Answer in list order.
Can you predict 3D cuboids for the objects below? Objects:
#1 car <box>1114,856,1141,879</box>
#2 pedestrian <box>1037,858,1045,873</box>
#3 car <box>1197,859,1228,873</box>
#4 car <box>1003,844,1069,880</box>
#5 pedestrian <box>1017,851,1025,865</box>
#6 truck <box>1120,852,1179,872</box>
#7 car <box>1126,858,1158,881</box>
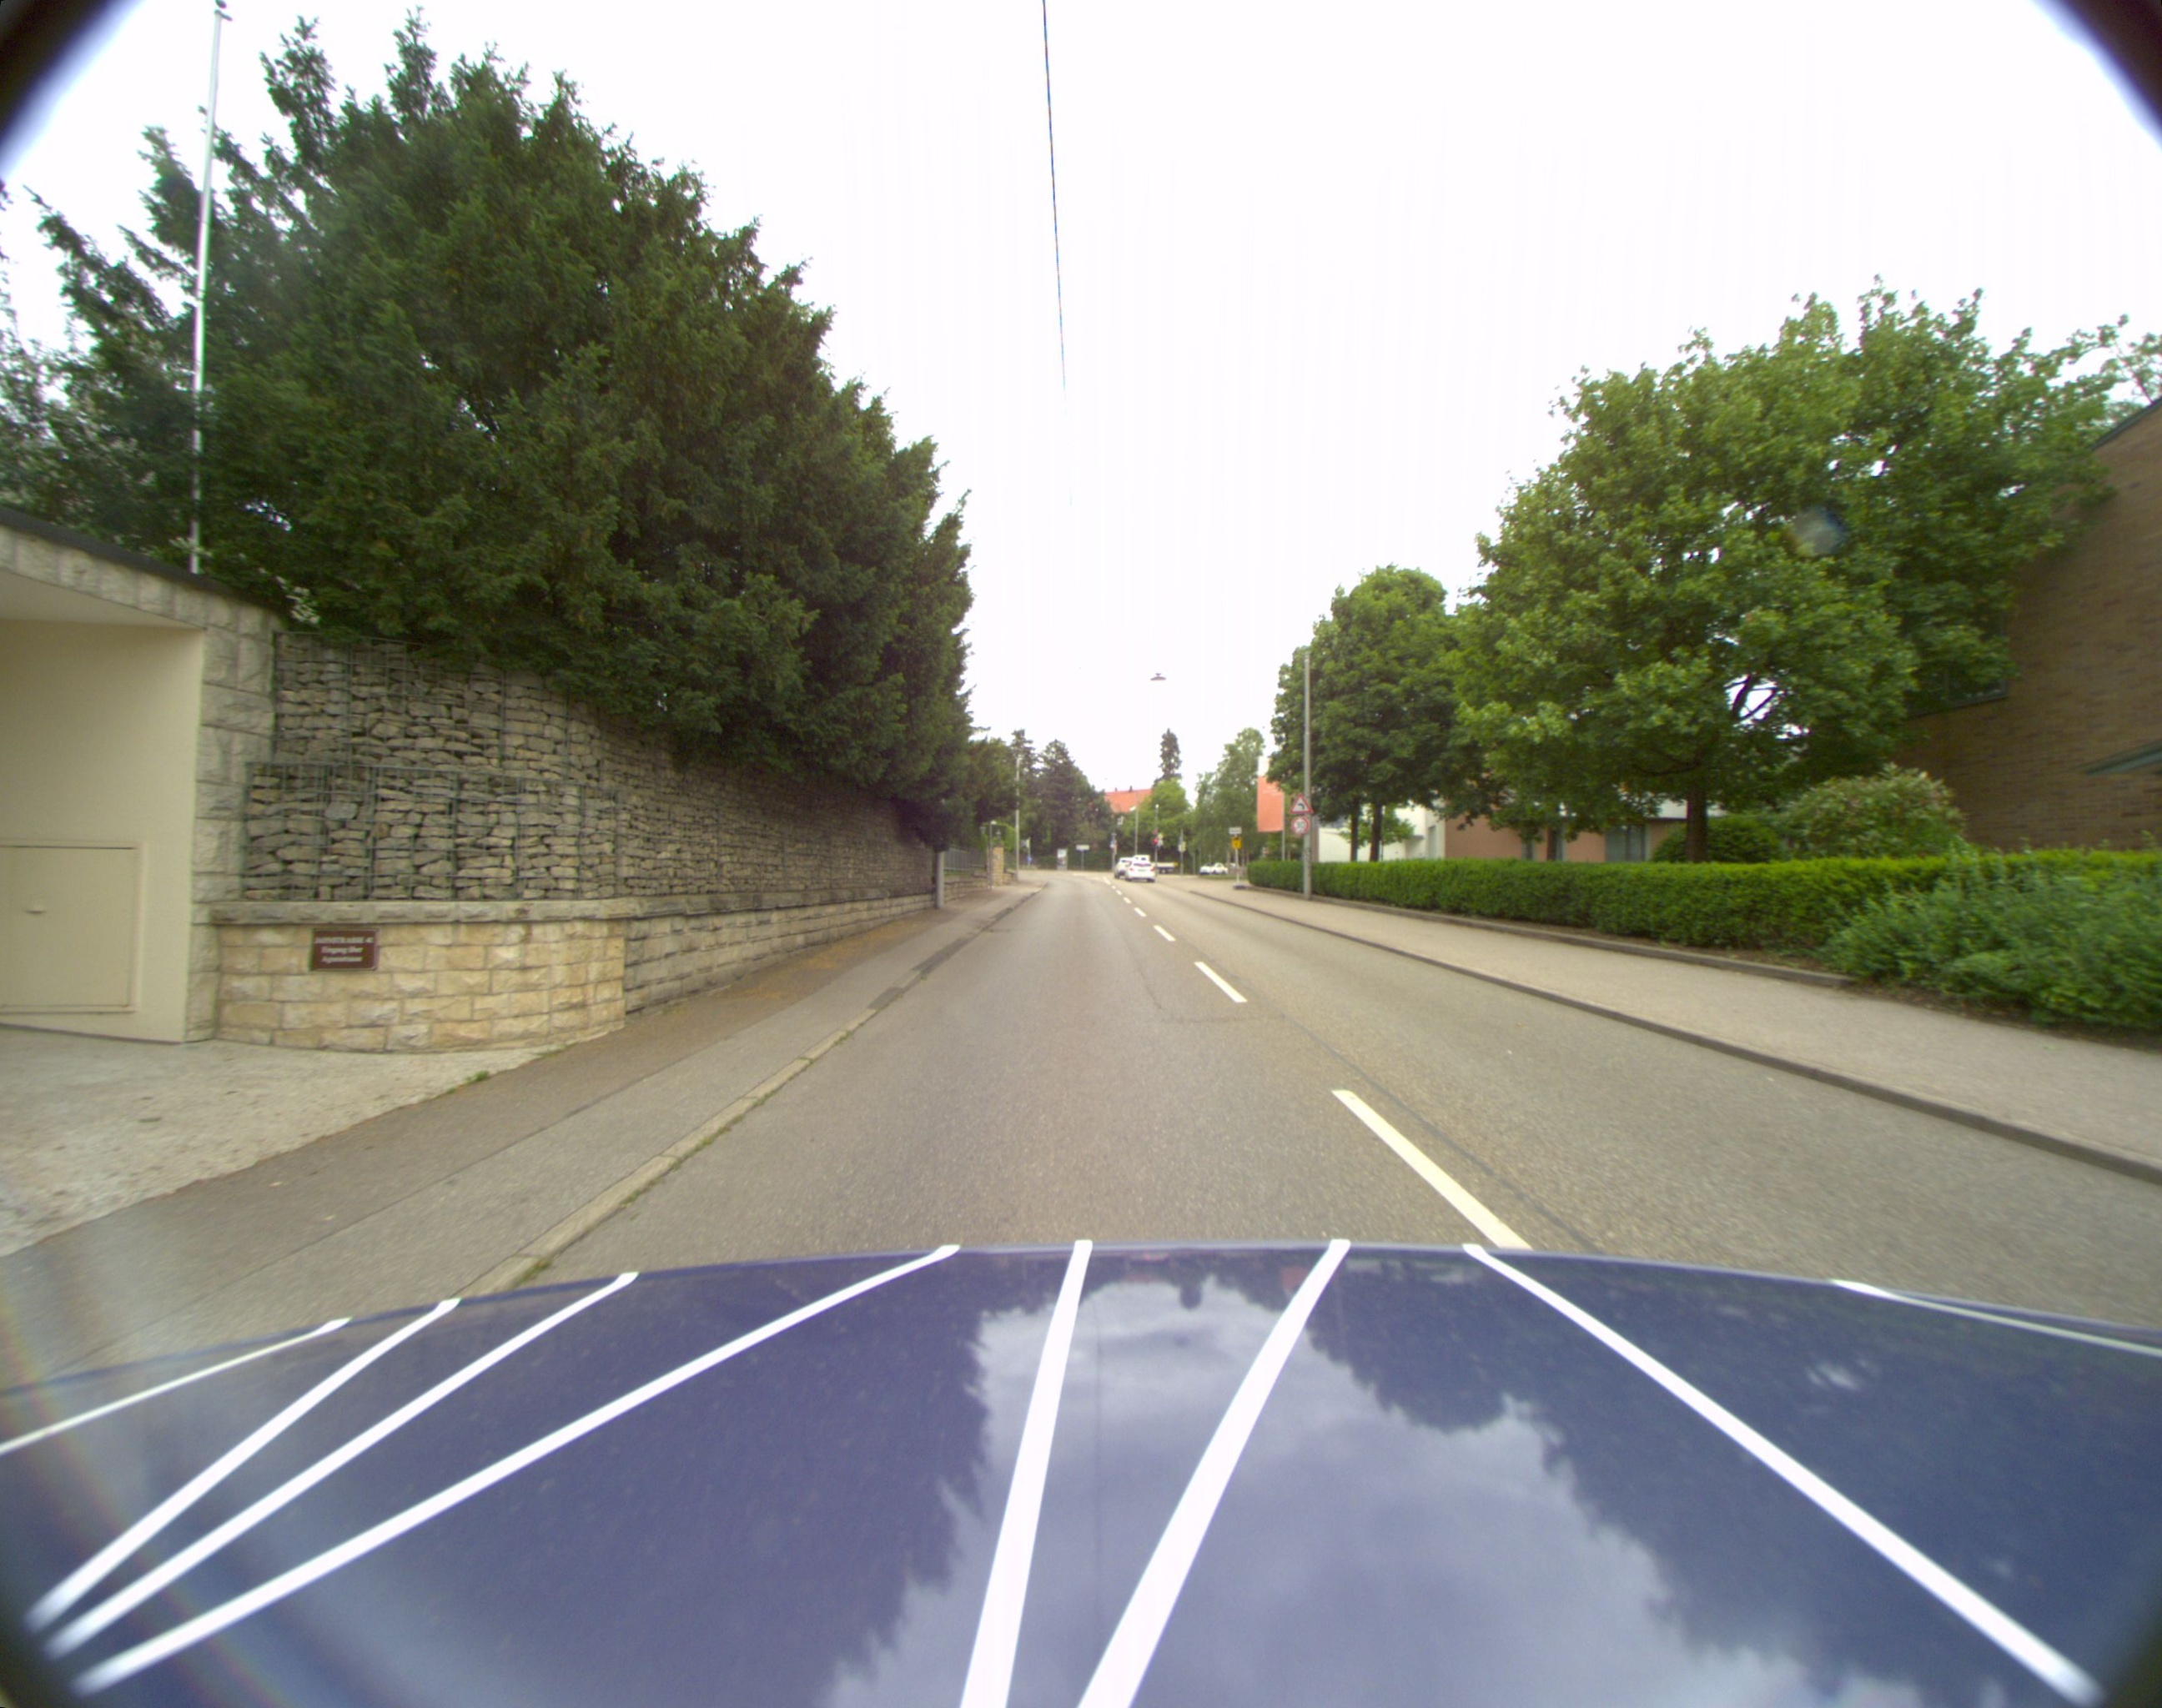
[{"bbox_3d":[3.534,1.009,58.556,1.773,1.628,4.301,3,0,0],"label":"car"},{"bbox_3d":[-5.027,1.447,95.568,0.611,1.824,0.605,2,0,27],"label":"pedestrian"},{"bbox_3d":[16.091,1.509,92.843,1.994,1.603,4.009,2,0,38],"label":"car"},{"bbox_3d":[-2.749,0.500,47.015,3.750,1.603,1.814,9,0,-1],"label":"car"},{"bbox_3d":[-7.608,0.476,96.713,0.665,1.777,0.614,2,0,28],"label":"pedestrian"},{"bbox_3d":[8.202,0.930,90.358,6.706,2.176,2.532,2,0,11],"label":"truck"},{"bbox_3d":[4.139,1.008,51.864,1.771,1.413,4.065,2,0,0],"label":"car"}]
